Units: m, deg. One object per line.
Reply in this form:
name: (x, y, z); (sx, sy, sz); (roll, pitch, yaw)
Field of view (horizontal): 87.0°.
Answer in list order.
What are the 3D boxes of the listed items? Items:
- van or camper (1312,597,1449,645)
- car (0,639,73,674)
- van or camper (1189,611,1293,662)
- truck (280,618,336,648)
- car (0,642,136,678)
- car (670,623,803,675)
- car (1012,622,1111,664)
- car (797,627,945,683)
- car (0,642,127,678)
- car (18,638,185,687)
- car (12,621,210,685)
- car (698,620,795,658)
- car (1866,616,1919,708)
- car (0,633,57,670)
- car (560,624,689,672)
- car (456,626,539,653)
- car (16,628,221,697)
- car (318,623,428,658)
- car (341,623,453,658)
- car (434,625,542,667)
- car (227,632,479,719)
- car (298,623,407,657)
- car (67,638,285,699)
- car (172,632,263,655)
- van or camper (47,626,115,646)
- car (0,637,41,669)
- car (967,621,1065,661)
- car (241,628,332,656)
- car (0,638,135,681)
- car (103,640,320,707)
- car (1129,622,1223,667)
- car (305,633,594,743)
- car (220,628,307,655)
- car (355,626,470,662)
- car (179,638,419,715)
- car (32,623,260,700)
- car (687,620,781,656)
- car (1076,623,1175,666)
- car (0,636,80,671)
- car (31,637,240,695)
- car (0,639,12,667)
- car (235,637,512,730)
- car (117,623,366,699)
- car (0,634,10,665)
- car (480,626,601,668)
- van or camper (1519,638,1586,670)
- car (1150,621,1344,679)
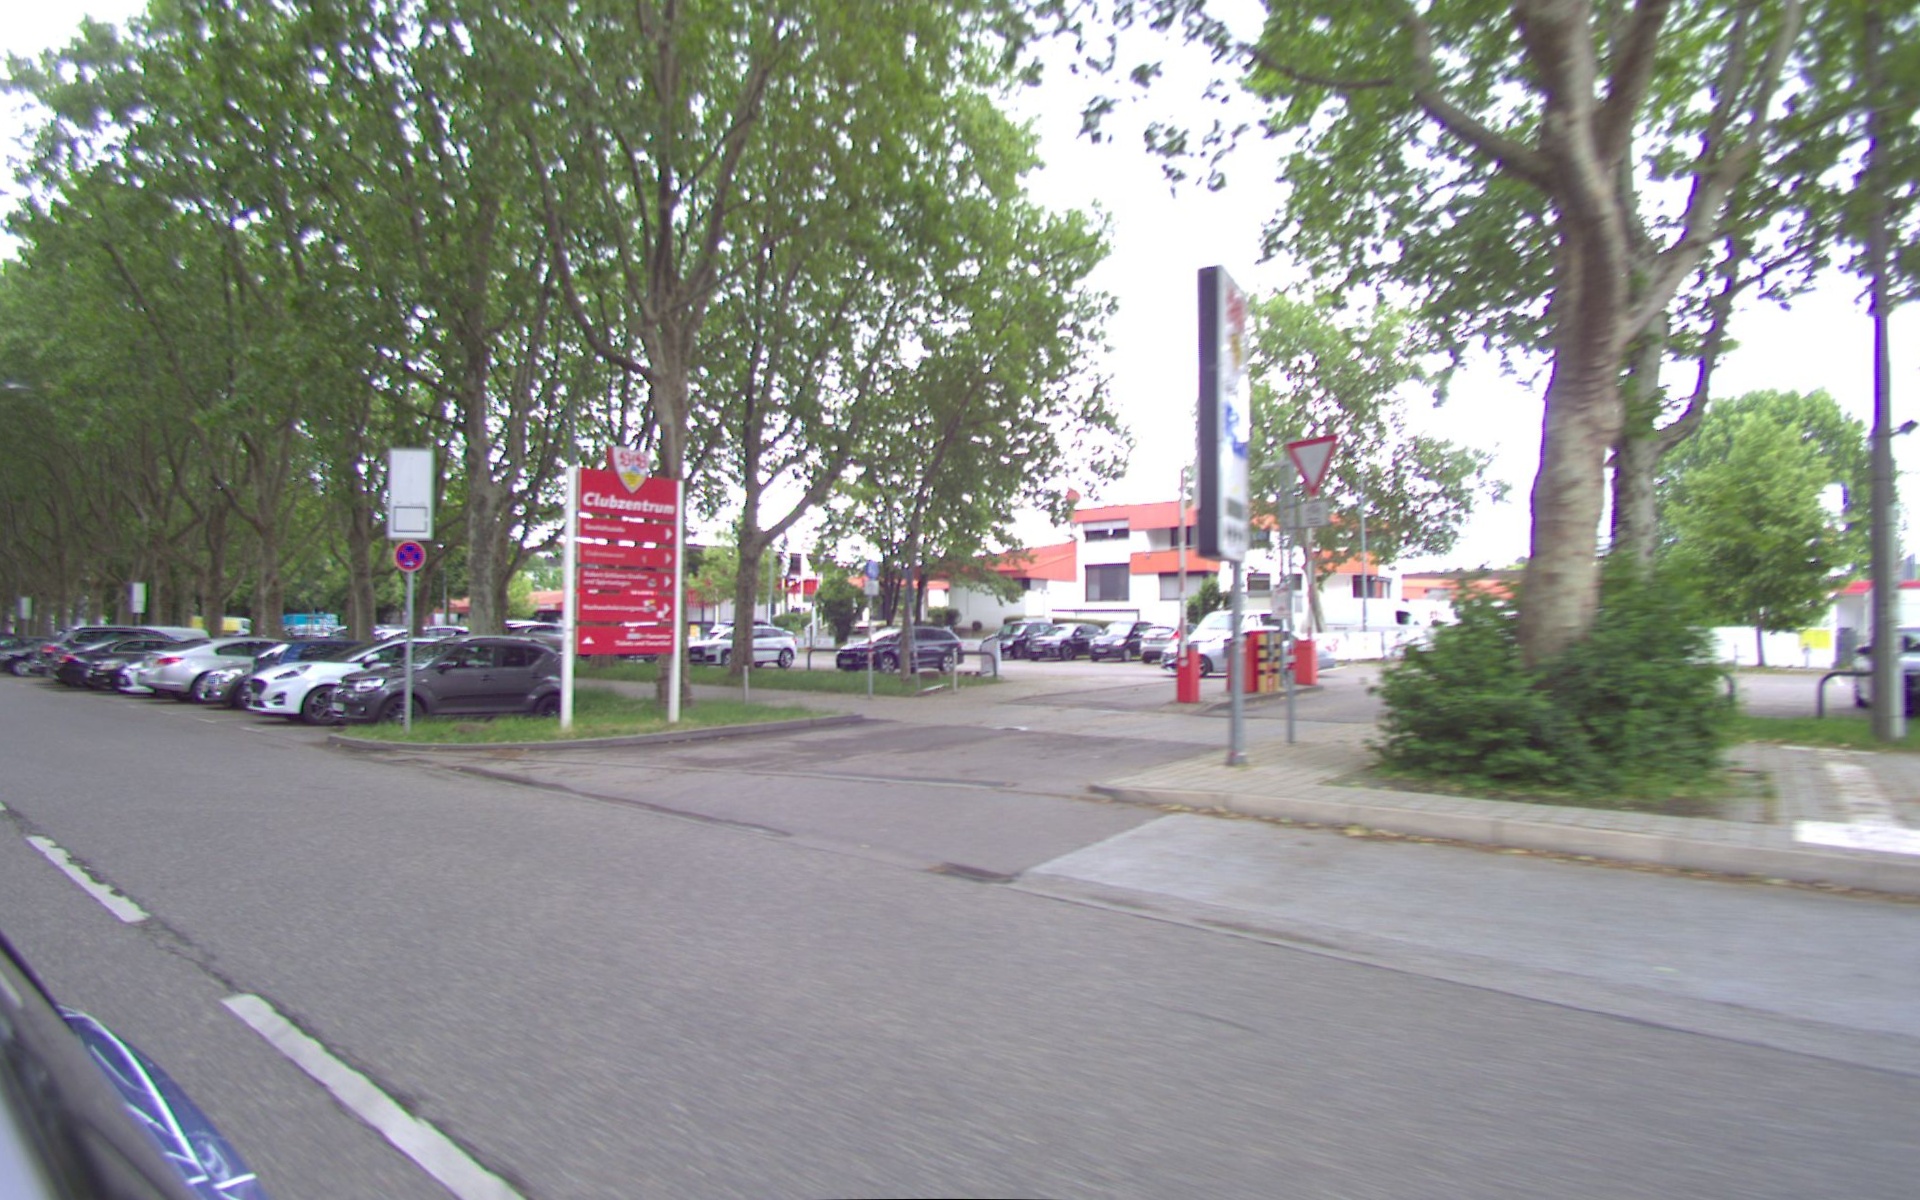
van or camper: (18.648, 0.947, 45.016); (5.297, 2.029, 1.974); (-1, -1, 39)
car: (-39.461, 2.331, 41.878); (1.701, 1.409, 3.892); (-2, -4, 38)
van or camper: (10.180, 1.259, 36.471); (2.129, 1.722, 4.278); (-1, -1, 39)
truck: (-62.502, 3.148, 97.086); (2.374, 2.737, 3.948); (-1, -1, 38)
car: (-35.083, 2.334, 39.339); (1.900, 1.358, 4.416); (-2, -4, 41)
car: (-7.905, 1.689, 36.056); (2.129, 1.722, 4.278); (-1, -1, 39)
car: (4.115, 1.687, 40.486); (1.957, 1.560, 4.278); (-1, -1, 39)
car: (-2.646, 1.614, 30.996); (2.201, 1.560, 4.278); (-1, -1, 39)
car: (-36.916, 2.445, 41.122); (1.857, 1.377, 4.420); (-2, -5, 38)
car: (-27.895, 2.045, 33.001); (1.757, 1.483, 3.757); (-1, -4, 29)
car: (-25.977, 1.658, 31.103); (1.864, 1.824, 4.278); (-2, -4, 36)
car: (-11.317, 2.028, 53.763); (2.297, 1.869, 4.526); (-1, -2, 45)
car: (15.822, 0.928, 16.002); (2.000, 1.334, 3.948); (-1, -1, 39)
car: (-45.130, 2.410, 47.408); (1.750, 1.721, 3.892); (-2, -4, 38)
car: (-13.530, 1.897, 41.021); (2.294, 1.775, 4.474); (-1, -1, 39)
car: (-32.488, 2.763, 71.174); (2.180, 1.810, 4.895); (-1, -1, 37)
car: (-24.226, 1.731, 29.270); (2.035, 1.809, 4.274); (-1, -1, 40)
car: (-32.801, 2.217, 56.714); (2.180, 1.810, 4.895); (-1, -1, 37)
car: (-30.693, 2.179, 55.290); (2.180, 1.810, 4.895); (-1, -1, 37)
car: (-22.793, 2.190, 48.968); (2.026, 1.875, 4.278); (-1, -1, 39)
car: (-12.061, 1.422, 20.306); (1.830, 1.505, 3.954); (-1, -1, 39)
car: (-34.813, 2.254, 58.095); (2.180, 1.810, 4.895); (-1, -1, 37)
car: (-20.315, 1.717, 26.371); (1.964, 1.364, 4.149); (-1, -1, 37)
car: (-56.867, 3.278, 77.579); (2.092, 1.608, 5.297); (-1, -1, 38)
van or camper: (-95.536, 3.869, 110.017); (2.241, 2.115, 5.235); (-1, -1, 37)
car: (-47.100, 2.529, 48.794); (1.727, 1.528, 3.889); (-2, -4, 41)
car: (2.383, 1.654, 42.036); (1.957, 1.560, 4.278); (-1, -1, 39)
car: (-43.932, 2.754, 66.105); (1.997, 1.734, 4.509); (-2, -4, 37)
car: (-31.946, 2.127, 35.877); (1.755, 1.432, 3.935); (-2, -5, 43)
car: (-18.315, 1.730, 24.901); (1.883, 1.415, 3.948); (-1, -1, 38)
car: (8.086, 1.597, 37.701); (1.787, 1.560, 4.177); (-1, -1, 38)
car: (-8.420, 1.354, 16.957); (1.804, 1.552, 3.952); (-1, -1, 41)
car: (-47.873, 2.852, 69.658); (1.997, 1.734, 4.509); (-2, -4, 37)
car: (-28.743, 2.288, 53.268); (2.179, 1.810, 4.895); (-2, -3, 37)
car: (-14.041, 1.554, 21.666); (1.860, 1.416, 3.947); (-1, -1, 39)
car: (-20.970, 1.606, 26.223); (1.866, 1.824, 4.274); (-2, -5, 40)
car: (-12.422, 2.073, 55.803); (2.297, 1.869, 4.526); (-1, -2, 45)
car: (6.477, 1.689, 39.376); (1.957, 1.560, 4.278); (-1, -1, 39)
car: (-41.263, 2.307, 43.883); (1.701, 1.493, 4.420); (-2, -4, 38)
car: (-22.417, 1.823, 27.624); (2.012, 1.463, 4.085); (-2, -6, 41)
car: (-51.085, 2.689, 51.472); (1.701, 1.431, 3.954); (-2, -4, 38)
car: (-10.473, 1.411, 18.253); (1.912, 1.395, 3.950); (-1, -2, 43)
car: (-16.333, 1.425, 23.196); (1.905, 1.560, 4.223); (-1, -5, 38)
car: (-54.830, 2.723, 55.379); (1.854, 1.695, 3.946); (-1, -1, 40)
car: (-18.800, 2.060, 45.549); (2.294, 1.739, 4.507); (-1, -1, 39)
van or camper: (41.410, 3.744, 70.819); (1.969, 2.029, 4.006); (0, -1, -6)
car: (8.183, 1.401, 29.127); (4.904, 1.564, 2.102); (0, -1, -4)
